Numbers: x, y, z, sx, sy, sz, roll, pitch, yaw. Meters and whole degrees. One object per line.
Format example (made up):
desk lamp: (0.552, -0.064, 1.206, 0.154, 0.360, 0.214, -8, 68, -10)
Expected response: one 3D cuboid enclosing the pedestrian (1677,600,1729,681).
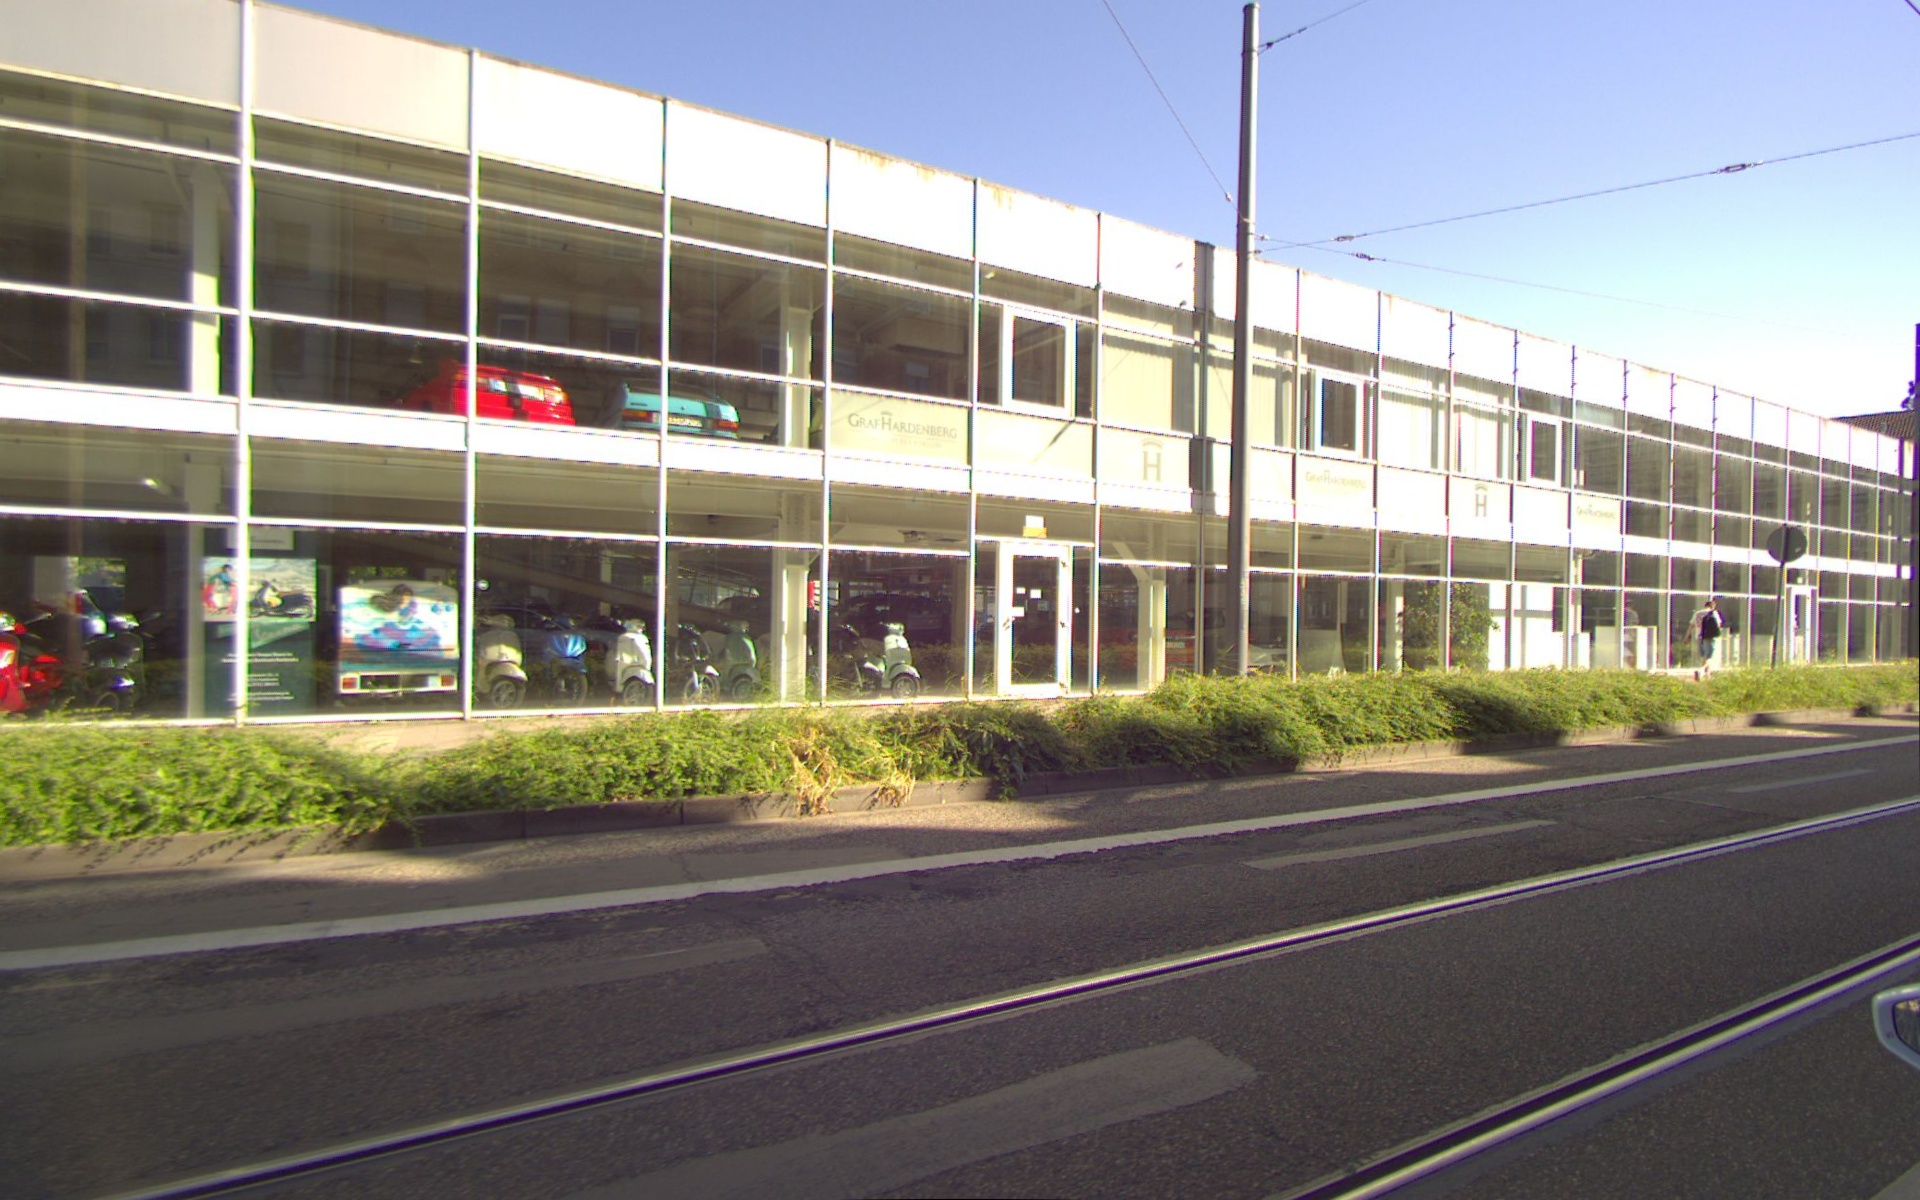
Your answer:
pedestrian: (16.824, 0.911, 22.736, 1.039, 1.788, 0.524, 2, 1, -31)
